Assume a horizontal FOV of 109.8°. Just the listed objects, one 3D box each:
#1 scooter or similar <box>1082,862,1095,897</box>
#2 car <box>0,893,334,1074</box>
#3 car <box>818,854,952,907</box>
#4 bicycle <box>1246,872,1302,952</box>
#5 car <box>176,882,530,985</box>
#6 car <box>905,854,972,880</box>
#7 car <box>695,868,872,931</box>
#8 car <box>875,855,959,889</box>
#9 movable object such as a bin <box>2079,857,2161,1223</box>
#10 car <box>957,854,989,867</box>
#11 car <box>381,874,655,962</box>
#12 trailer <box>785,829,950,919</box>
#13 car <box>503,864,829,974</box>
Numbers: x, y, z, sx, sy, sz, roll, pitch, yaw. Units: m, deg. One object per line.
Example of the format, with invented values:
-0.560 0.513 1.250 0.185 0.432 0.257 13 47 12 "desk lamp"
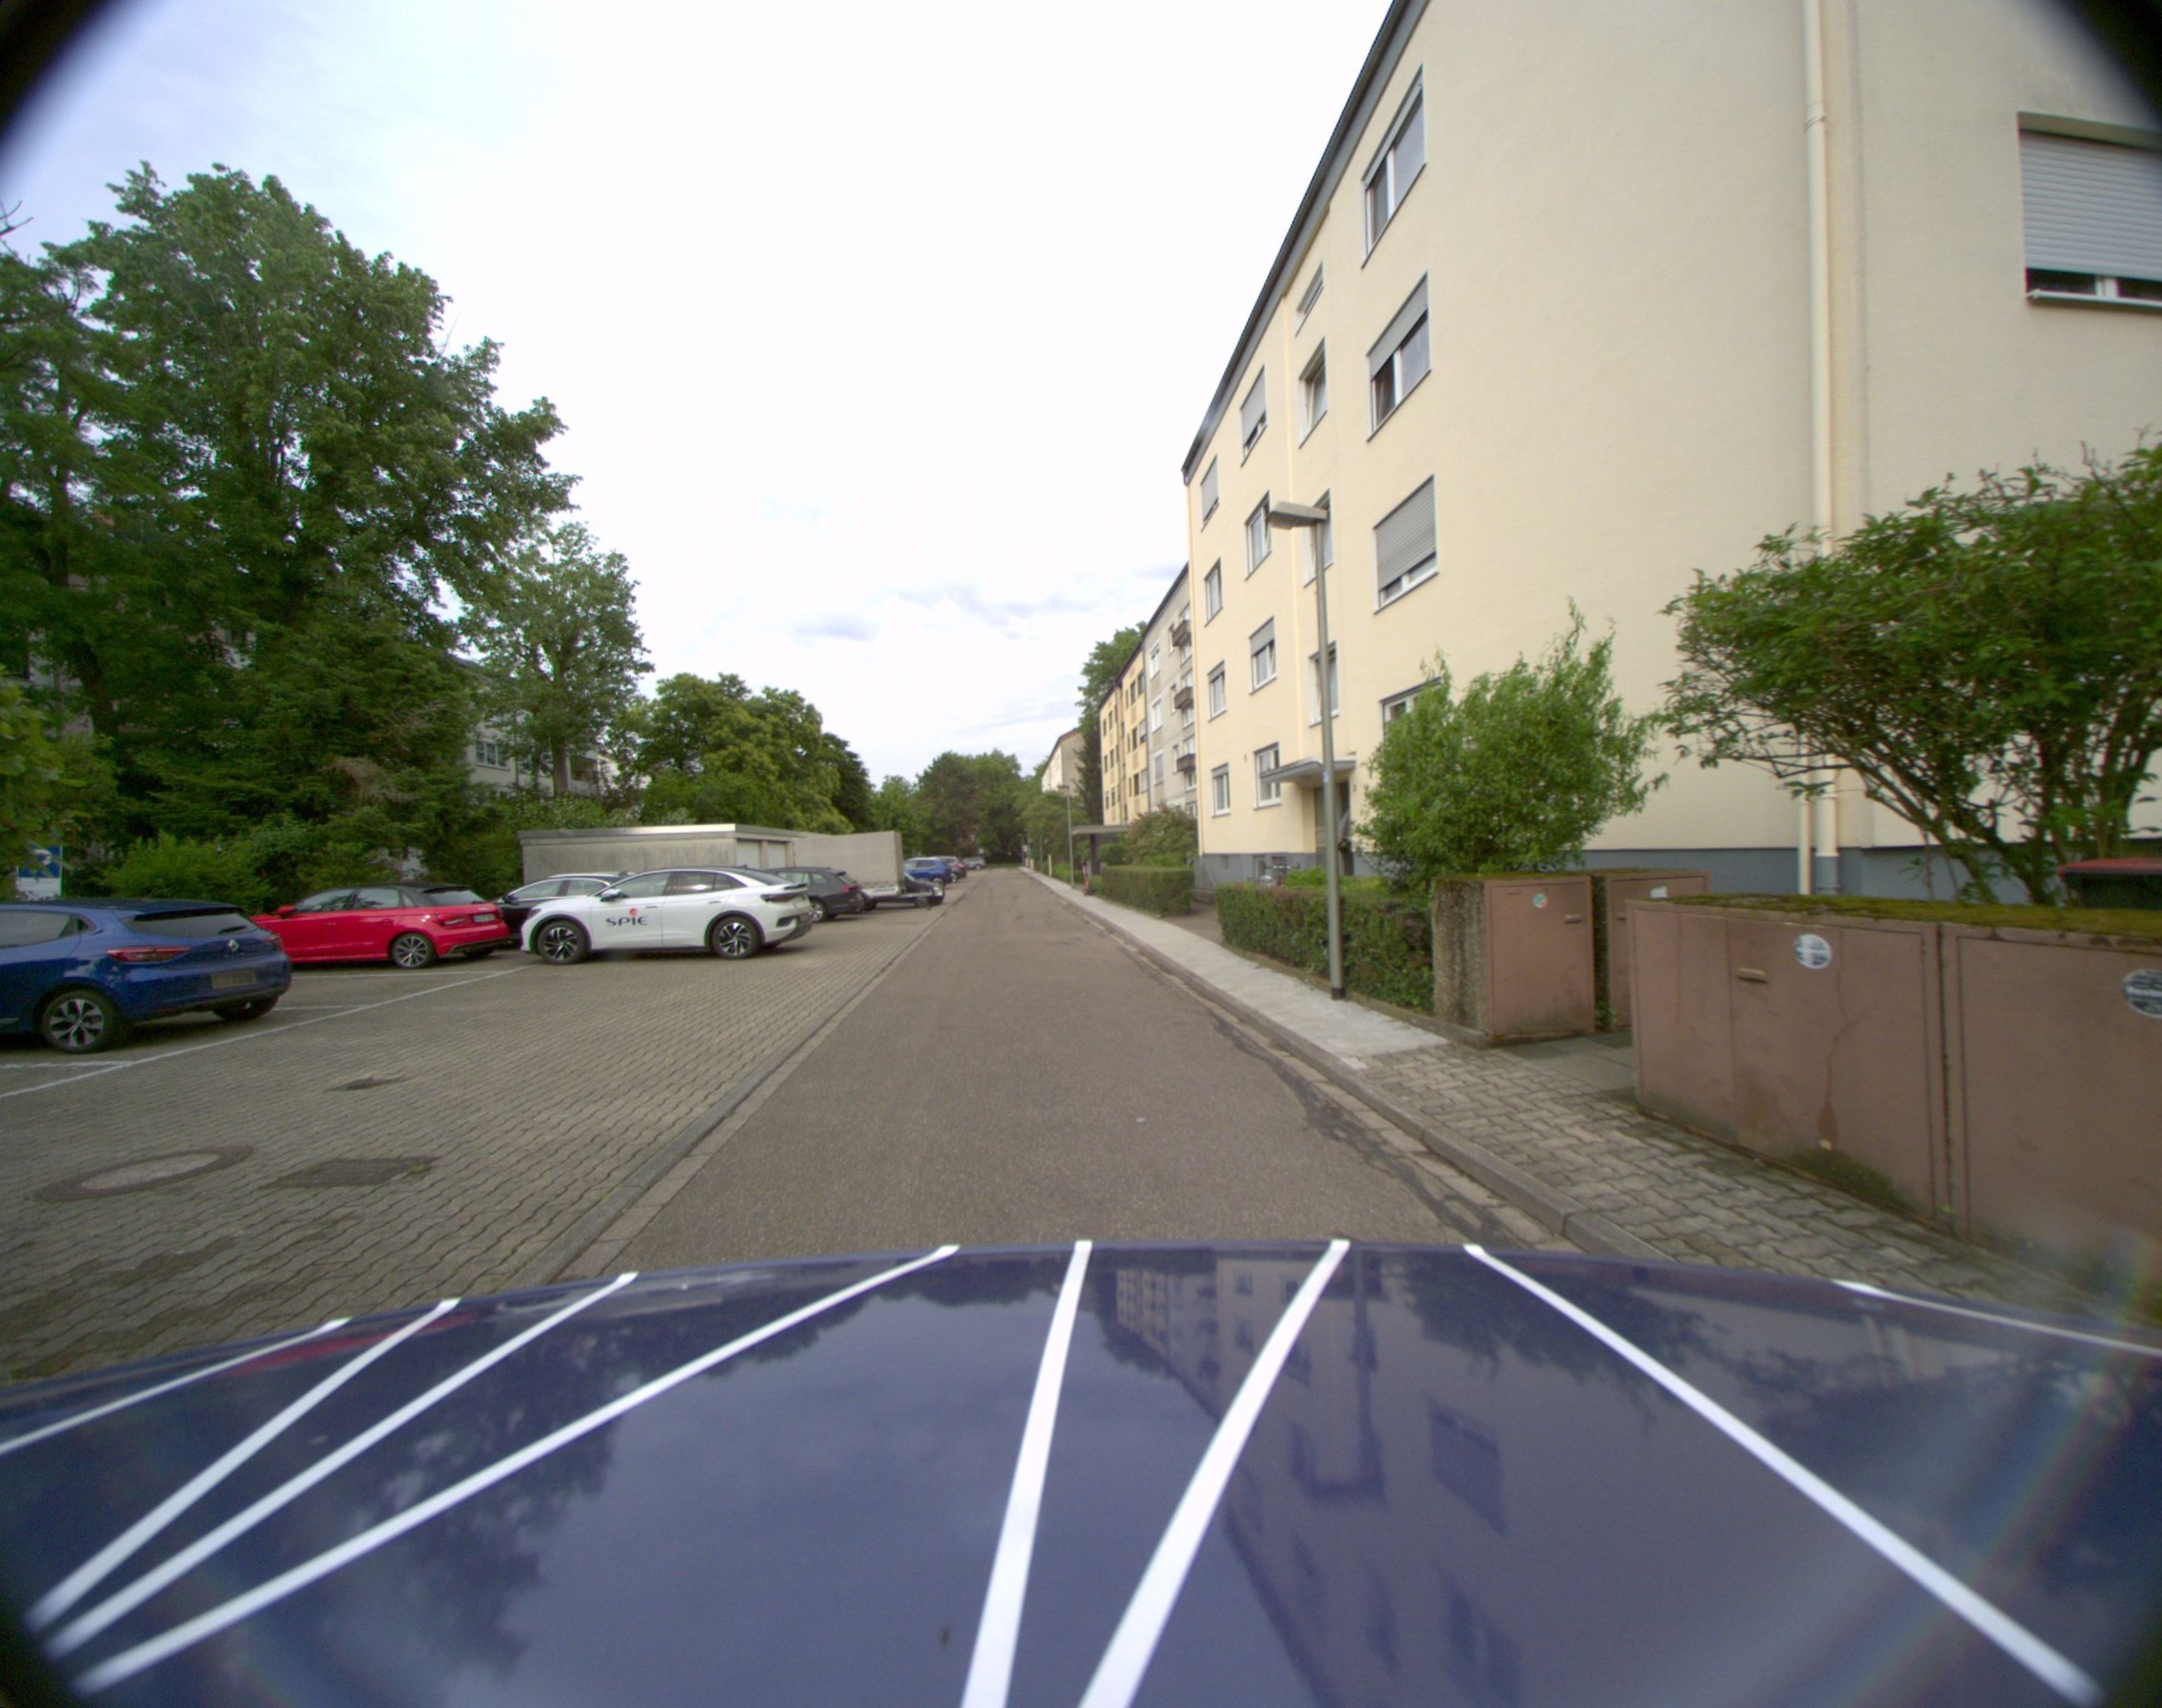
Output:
0.277 0.896 26.916 0.273 1.204 1.164 -2 0 -7 "scooter or similar"
-10.719 1.275 7.787 3.909 1.502 2.026 -2 0 -6 "car"
-6.832 0.903 26.907 4.324 1.791 1.999 0 0 -6 "car"
2.888 0.842 11.466 0.319 1.069 1.417 -3 1 -5 "bicycle"
-12.077 1.271 12.896 3.909 1.372 1.970 -2 0 -6 "car"
-9.360 0.833 50.222 4.208 1.717 1.999 0 0 -6 "car"
-7.912 1.181 20.517 4.140 1.440 1.611 -2 0 -6 "car"
-8.308 0.877 38.720 3.999 1.693 1.999 0 0 -6 "car"
3.759 0.603 2.420 0.507 1.181 0.515 -1 1 -7 "movable object such as a bin"
-14.324 0.847 101.055 4.106 1.636 1.786 -2 1 -7 "car"
-11.191 1.228 15.457 4.002 1.543 1.998 0 0 -14 "car"
-6.634 0.590 24.027 4.623 2.510 1.941 -3 1 -5 "trailer"
-7.029 1.061 13.330 4.550 1.579 1.987 -2 0 -4 "car"
